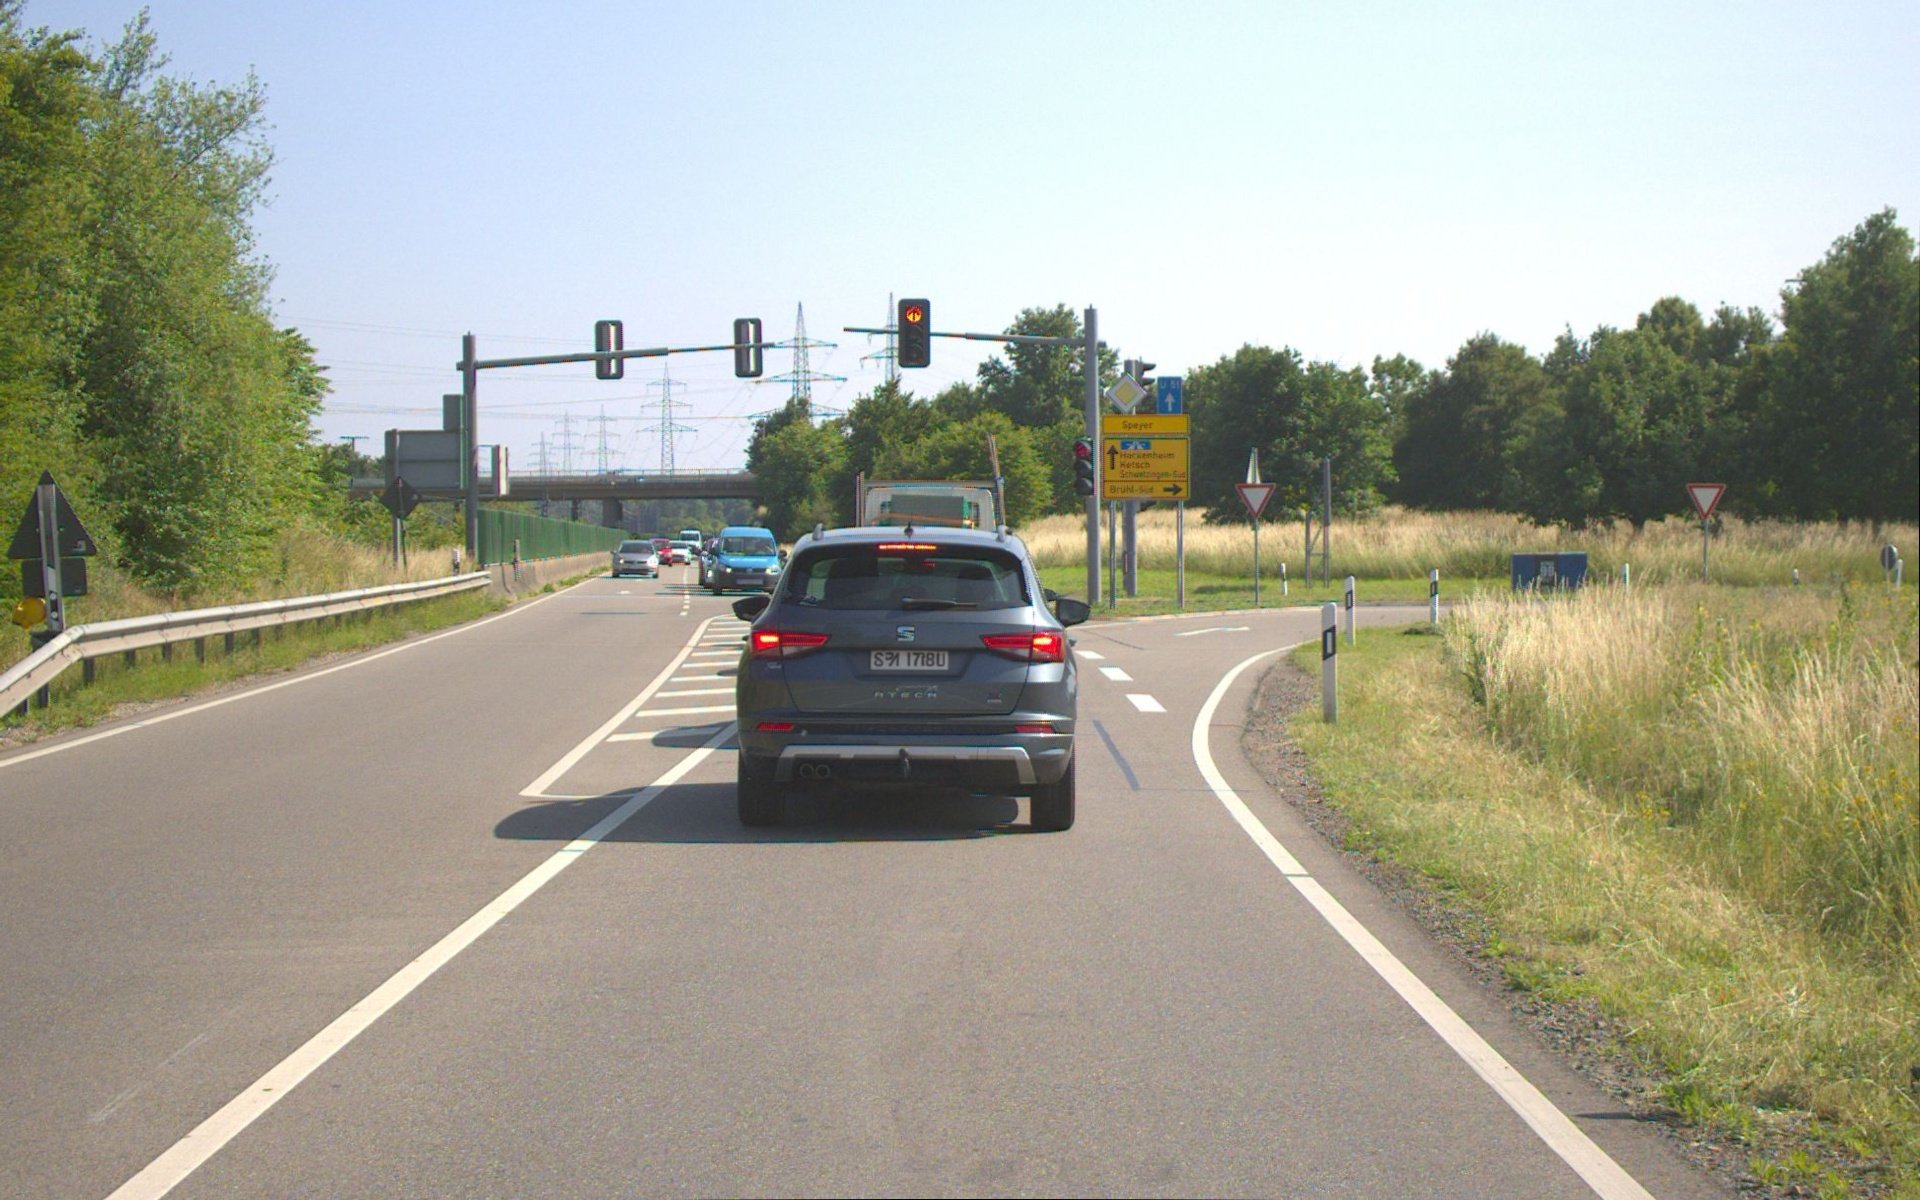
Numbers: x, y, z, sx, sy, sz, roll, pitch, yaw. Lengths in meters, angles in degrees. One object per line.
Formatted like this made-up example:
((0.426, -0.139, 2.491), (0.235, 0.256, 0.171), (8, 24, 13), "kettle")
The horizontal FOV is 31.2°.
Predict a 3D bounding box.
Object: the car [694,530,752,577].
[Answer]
((-7.198, -1.427, 104.196), (1.684, 1.375, 3.534), (0, 1, -5), "car")

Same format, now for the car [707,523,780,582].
((-5.793, -1.280, 91.736), (1.816, 1.535, 4.001), (-1, 1, -5), "car")

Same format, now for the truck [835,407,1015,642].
((-0.490, -1.024, 47.887), (2.337, 3.055, 5.810), (0, 1, -1), "truck")

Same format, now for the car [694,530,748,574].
((-7.777, -1.584, 111.673), (1.684, 1.375, 3.534), (0, 1, -5), "car")

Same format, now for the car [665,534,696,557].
((-16.825, -3.289, 207.046), (1.761, 1.329, 4.001), (-1, 1, -6), "car")

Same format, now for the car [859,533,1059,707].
((-0.066, 0.146, 33.046), (1.785, 1.538, 4.001), (0, 1, -2), "car")

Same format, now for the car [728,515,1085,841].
((-0.325, 0.343, 19.249), (1.785, 1.623, 4.001), (0, 1, -2), "car")

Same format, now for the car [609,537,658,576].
((-12.652, -1.694, 133.120), (1.824, 1.426, 4.001), (-1, 1, -6), "car")

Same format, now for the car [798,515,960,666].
((-0.963, -0.152, 40.189), (1.785, 1.670, 4.001), (0, 1, -2), "car")
